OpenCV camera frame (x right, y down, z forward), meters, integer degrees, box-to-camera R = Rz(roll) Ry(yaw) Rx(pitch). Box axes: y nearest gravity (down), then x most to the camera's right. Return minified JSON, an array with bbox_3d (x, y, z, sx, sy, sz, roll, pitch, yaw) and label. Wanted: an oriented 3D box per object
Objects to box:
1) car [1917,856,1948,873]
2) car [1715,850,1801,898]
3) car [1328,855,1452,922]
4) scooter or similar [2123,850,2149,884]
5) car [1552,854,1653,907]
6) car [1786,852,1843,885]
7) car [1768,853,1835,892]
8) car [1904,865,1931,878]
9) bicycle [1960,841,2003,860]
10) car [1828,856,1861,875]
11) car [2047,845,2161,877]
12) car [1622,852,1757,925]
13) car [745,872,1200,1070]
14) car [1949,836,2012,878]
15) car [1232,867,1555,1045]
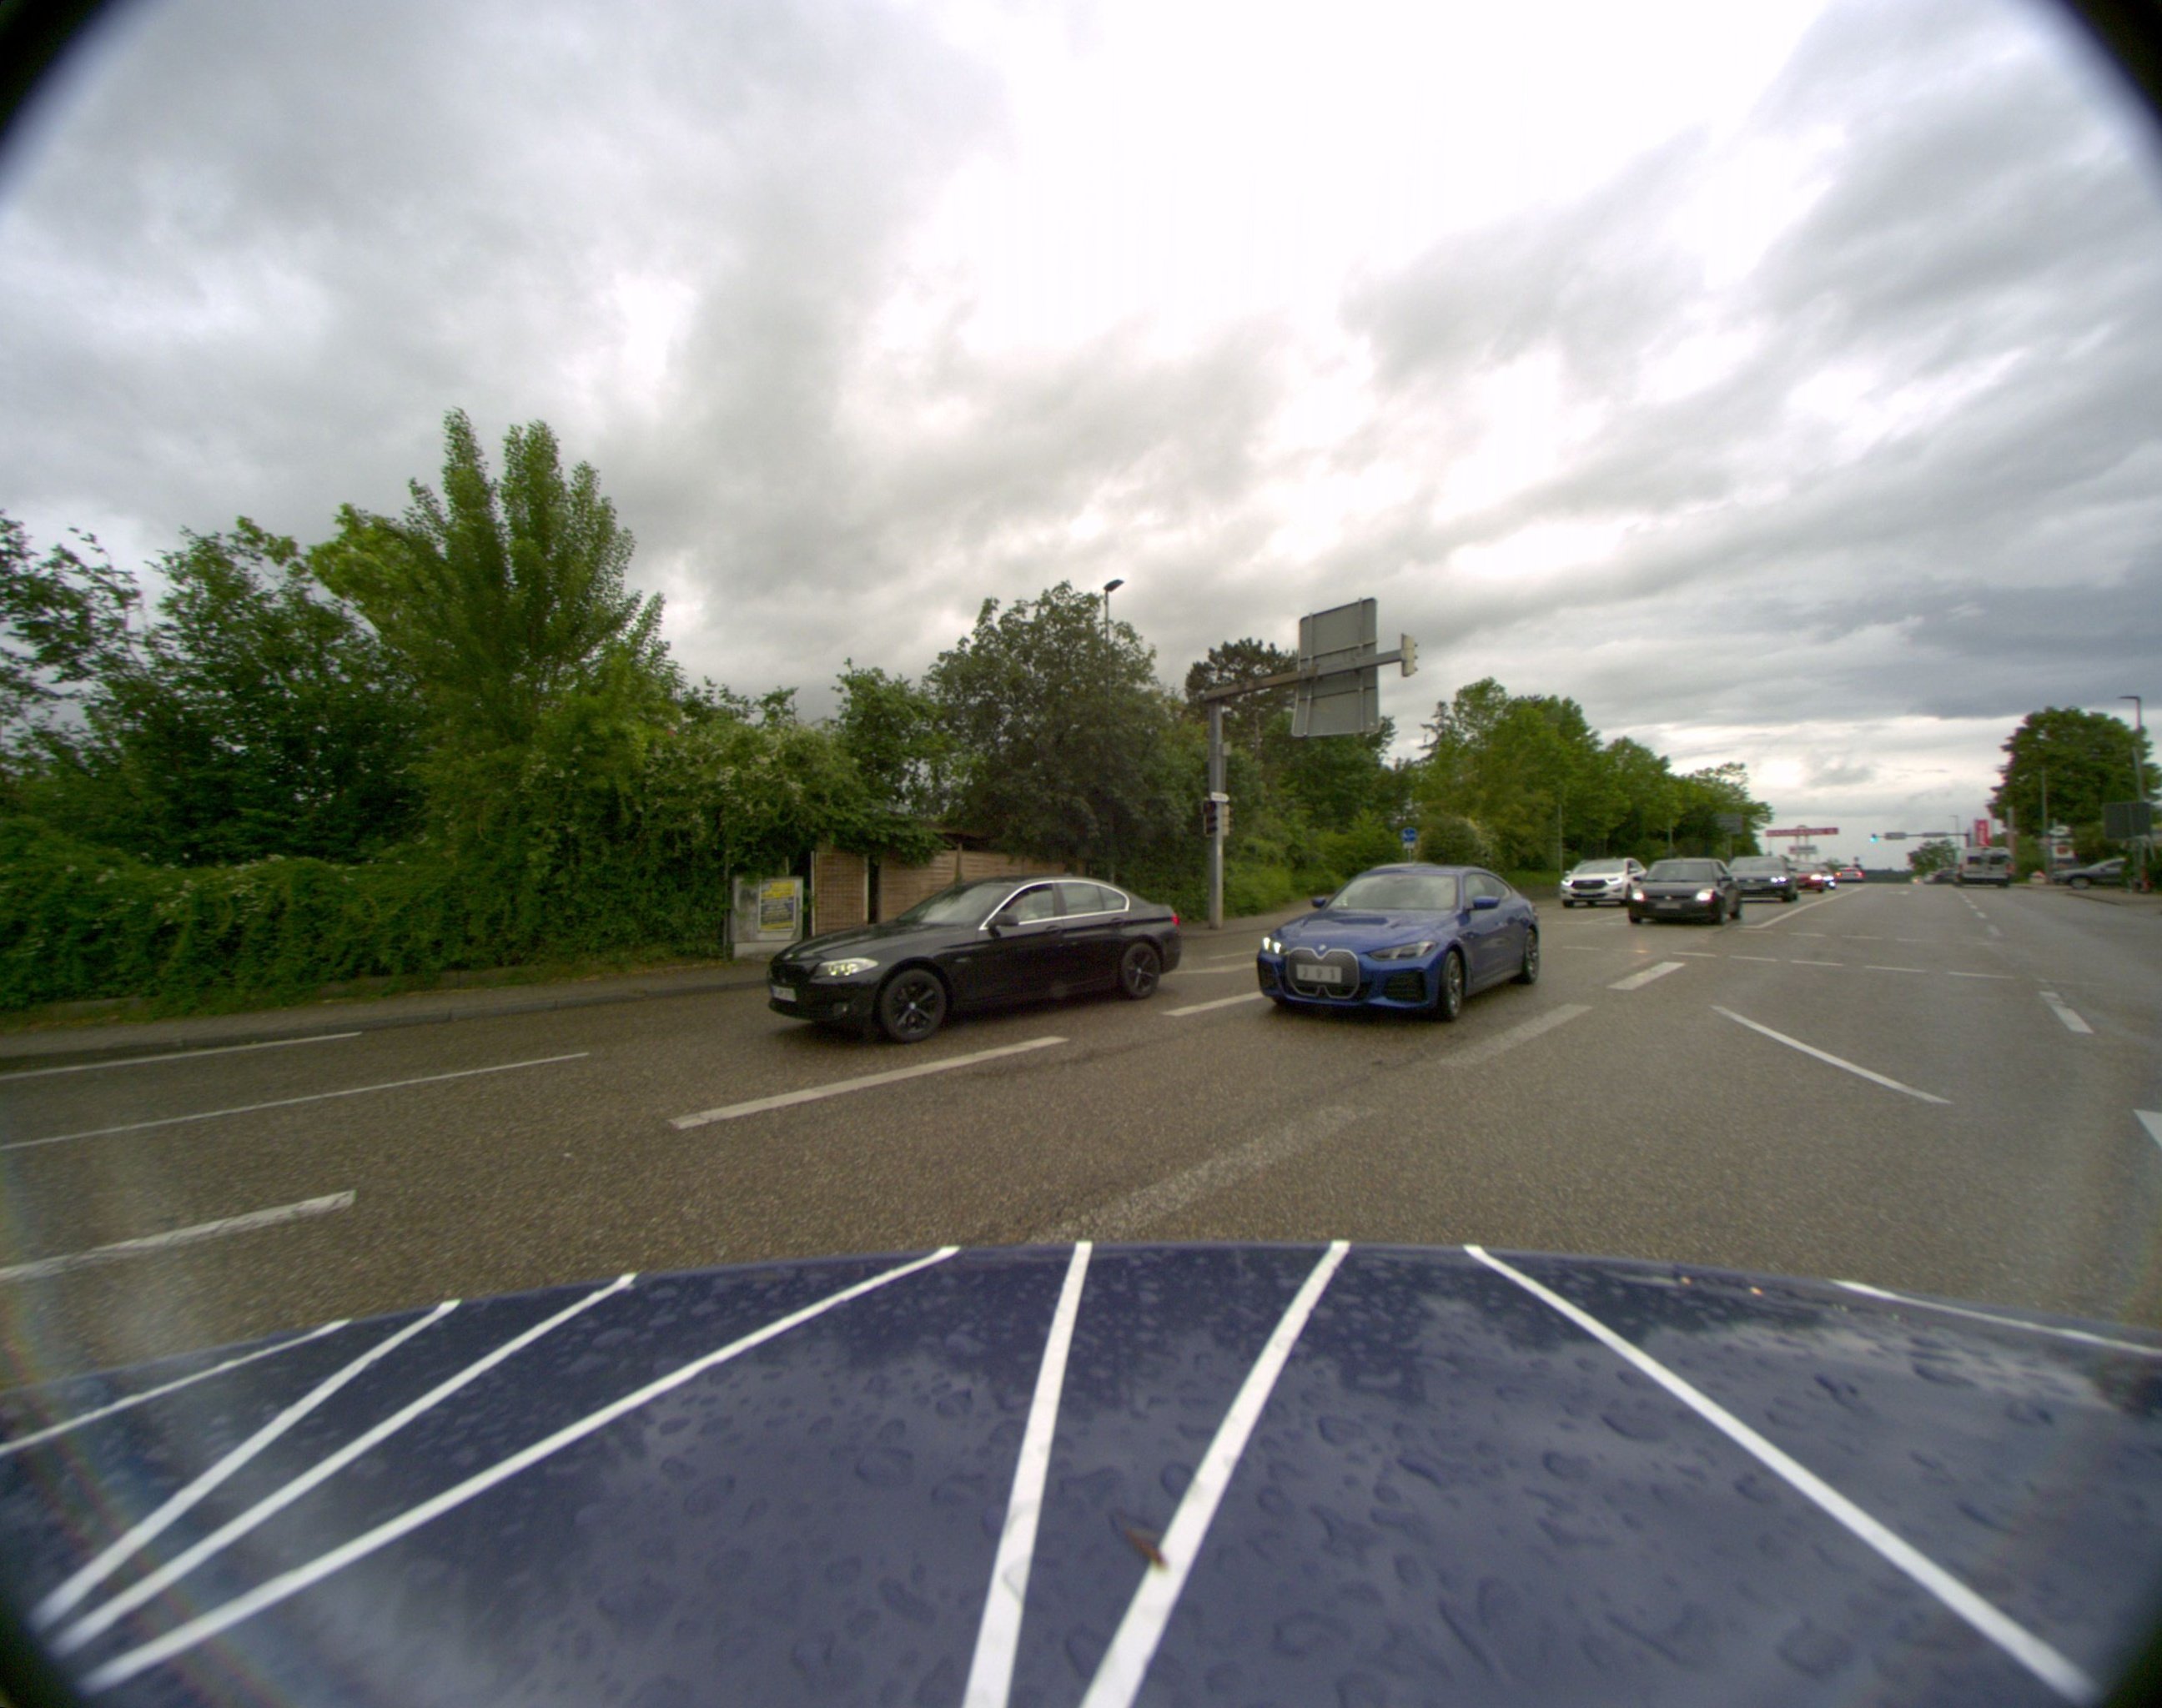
[{"bbox_3d":[78.644,0.944,70.200,4.481,1.493,1.777,-1,-1,-43],"label":"car"},{"bbox_3d":[23.909,0.668,26.792,4.008,1.542,1.803,-1,-1,-42],"label":"car"},{"bbox_3d":[8.578,0.912,20.952,3.850,1.612,1.702,-1,-3,-45],"label":"car"},{"bbox_3d":[44.087,0.533,31.747,1.884,1.397,0.505,-1,0,-32],"label":"scooter or similar"},{"bbox_3d":[18.062,0.895,26.256,3.849,1.612,1.976,-1,-2,-43],"label":"car"},{"bbox_3d":[40.964,0.788,42.414,4.107,1.707,1.924,0,-1,-42],"label":"car"},{"bbox_3d":[34.885,0.867,36.750,4.107,1.707,1.925,0,-3,-42],"label":"car"},{"bbox_3d":[93.854,1.955,85.255,1.747,1.389,3.810,-2,0,44],"label":"car"},{"bbox_3d":[54.401,-0.188,45.899,0.469,1.119,1.637,0,0,-42],"label":"bicycle"},{"bbox_3d":[74.663,1.111,74.301,4.107,1.707,1.925,0,-5,-42],"label":"car"},{"bbox_3d":[54.658,0.388,40.426,1.722,1.642,3.925,-1,-1,-36],"label":"car"},{"bbox_3d":[14.501,0.756,18.028,4.232,1.542,1.803,0,-2,-42],"label":"car"},{"bbox_3d":[-0.911,1.010,8.347,4.729,1.450,1.792,-1,-2,-43],"label":"car"},{"bbox_3d":[56.696,0.235,48.008,5.786,2.512,2.299,1,-3,-42],"label":"car"},{"bbox_3d":[3.663,0.896,8.455,1.800,1.398,4.281,-2,-1,45],"label":"car"}]
